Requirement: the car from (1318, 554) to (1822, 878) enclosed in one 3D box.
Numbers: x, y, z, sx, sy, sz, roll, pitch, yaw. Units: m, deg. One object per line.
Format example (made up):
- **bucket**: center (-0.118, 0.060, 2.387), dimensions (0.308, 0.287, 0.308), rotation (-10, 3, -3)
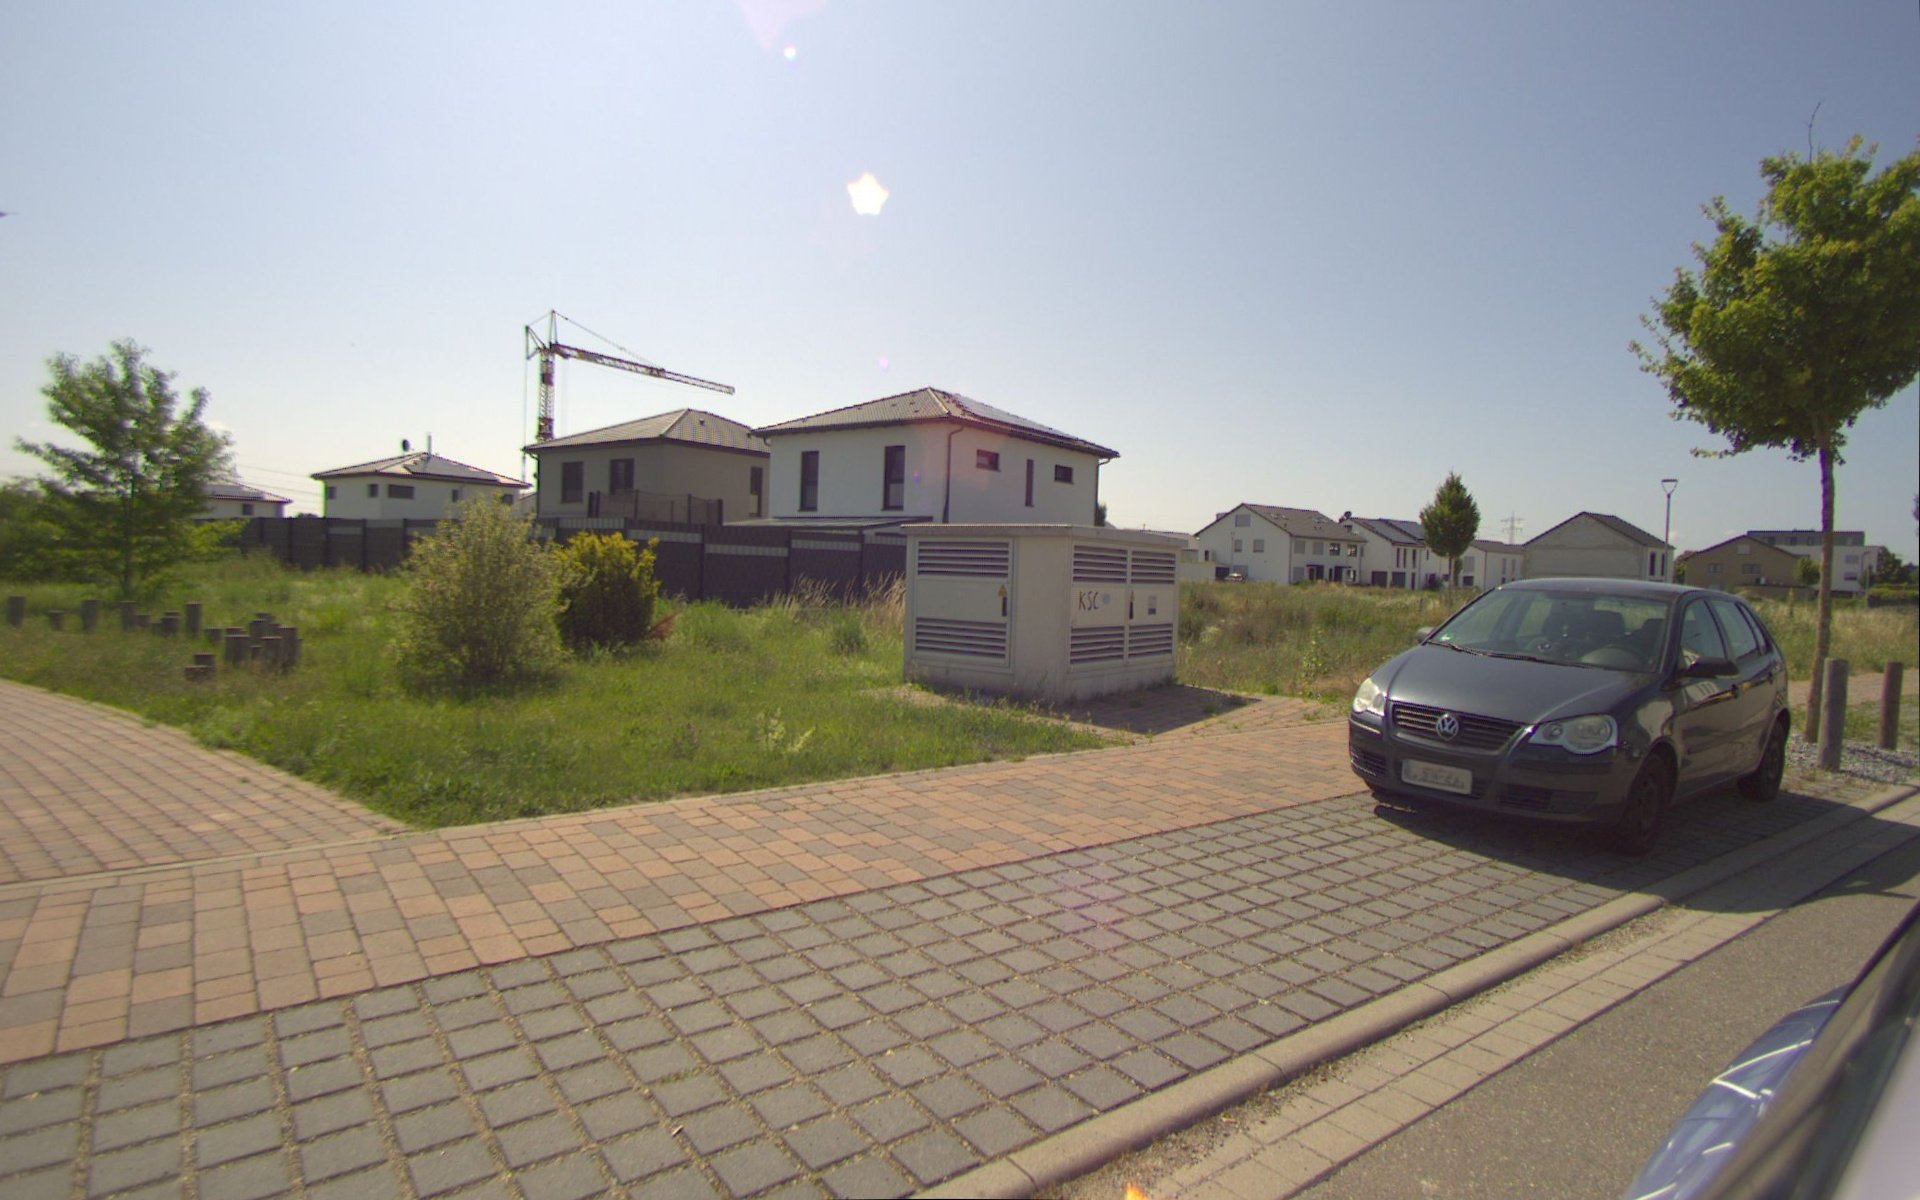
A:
- **car**: center (4.094, 0.536, 6.597), dimensions (3.608, 1.493, 1.603), rotation (0, 4, -39)
